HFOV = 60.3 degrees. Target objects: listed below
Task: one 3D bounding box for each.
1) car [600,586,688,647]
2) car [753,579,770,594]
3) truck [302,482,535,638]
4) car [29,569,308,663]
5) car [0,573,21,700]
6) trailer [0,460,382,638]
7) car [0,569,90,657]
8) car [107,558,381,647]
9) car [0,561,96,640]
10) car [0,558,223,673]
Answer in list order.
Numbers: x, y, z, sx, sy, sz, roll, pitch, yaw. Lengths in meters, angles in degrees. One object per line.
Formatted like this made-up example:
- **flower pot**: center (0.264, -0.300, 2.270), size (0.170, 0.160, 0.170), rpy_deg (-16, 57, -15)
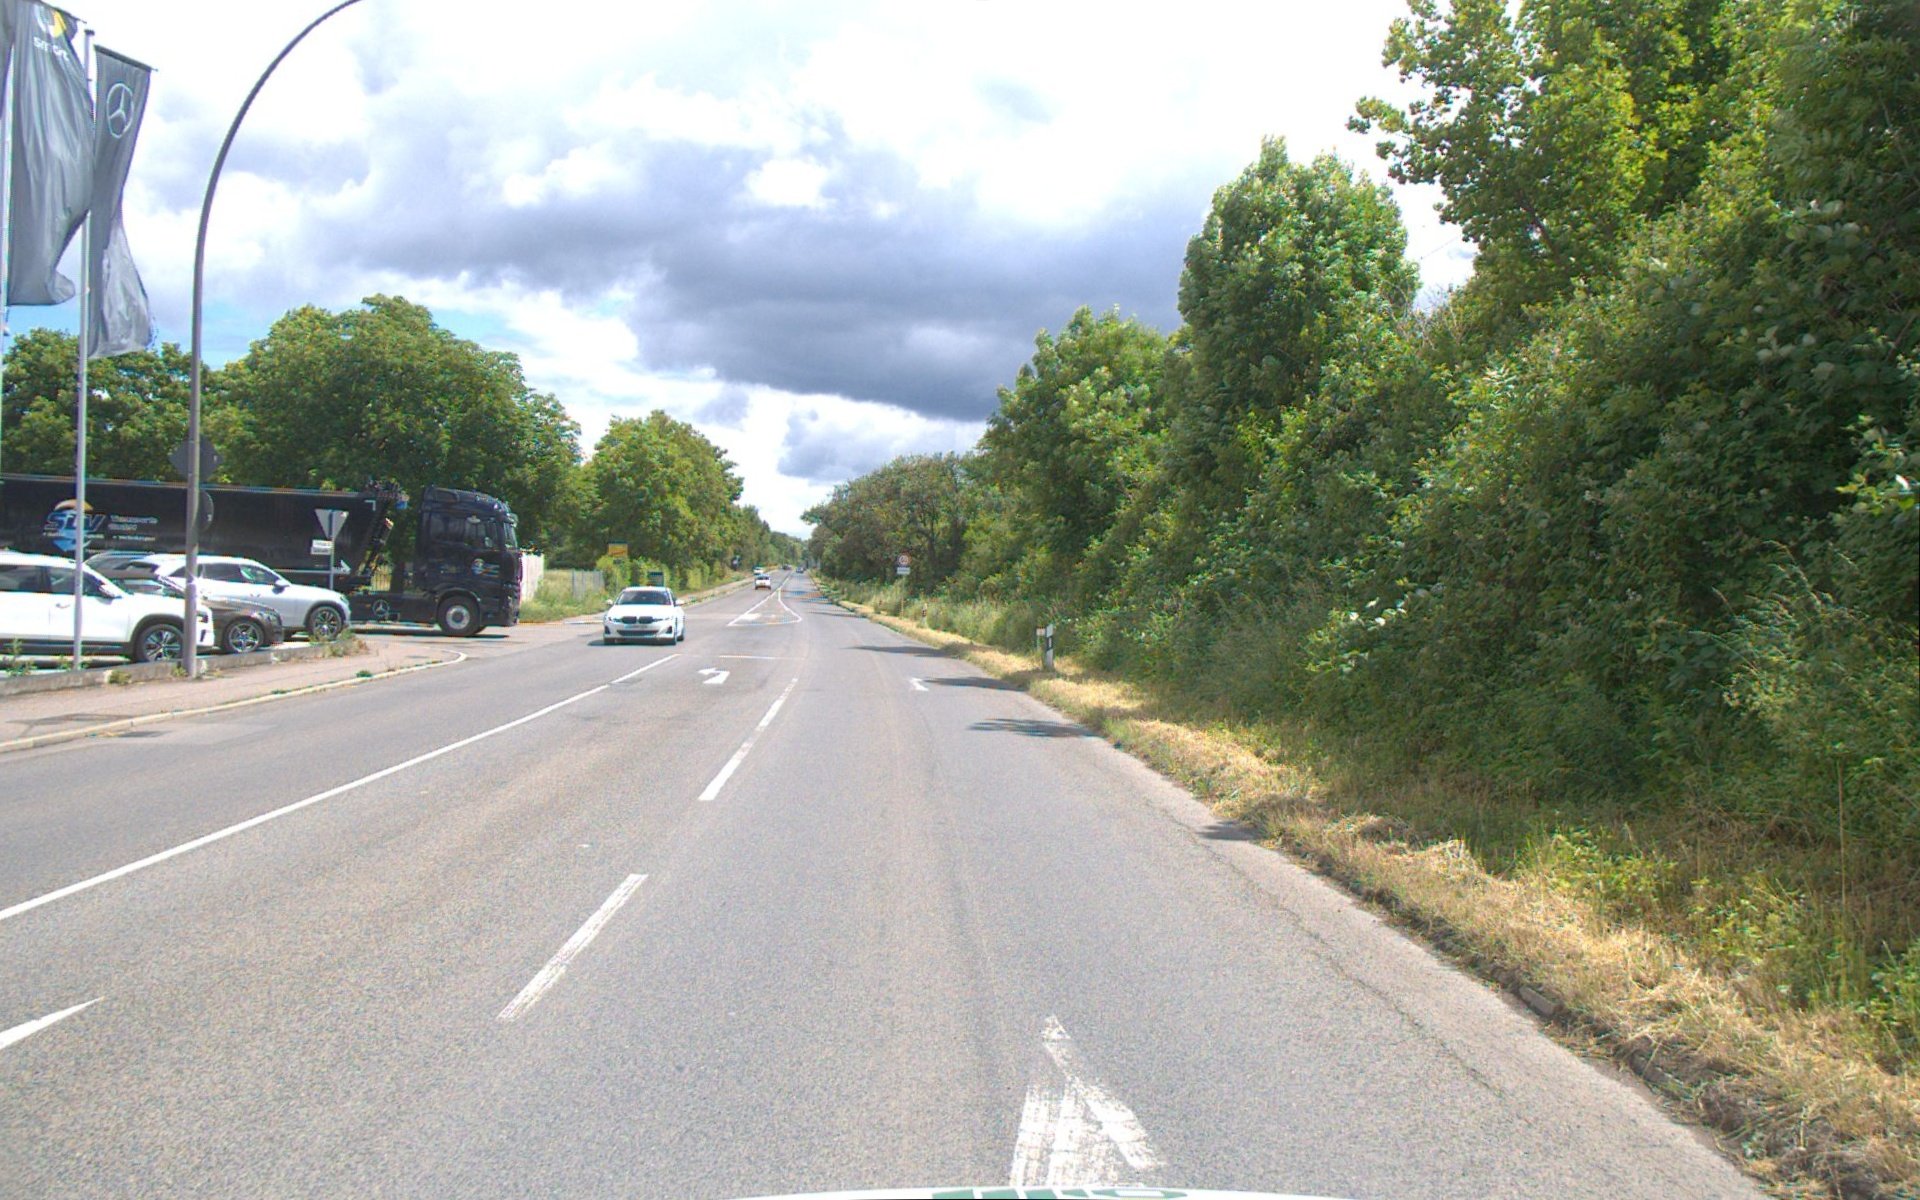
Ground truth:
- **car**: center (-8.131, 0.396, 42.875), size (1.956, 1.476, 4.420), rpy_deg (0, 0, -7)
- **car**: center (-20.095, -1.405, 167.623), size (1.628, 1.457, 3.688), rpy_deg (0, 1, -6)
- **truck**: center (-14.314, -1.019, 44.159), size (5.454, 3.890, 2.977), rpy_deg (1, 0, -11)
- **car**: center (-14.073, 0.295, 29.476), size (4.275, 1.491, 1.777), rpy_deg (2, 2, -34)
- **car**: center (-13.909, 0.422, 19.598), size (1.834, 1.593, 4.510), rpy_deg (3, 2, 32)
- **trailer**: center (-19.812, -1.199, 42.369), size (9.302, 4.154, 3.298), rpy_deg (1, 0, -22)
- **car**: center (-18.050, 0.212, 29.062), size (1.830, 1.493, 4.544), rpy_deg (3, 1, 34)
- **car**: center (-14.410, 0.080, 33.536), size (1.951, 1.633, 4.719), rpy_deg (3, 1, 39)
- **car**: center (-20.776, -0.015, 35.988), size (1.762, 1.629, 4.760), rpy_deg (0, 0, -4)
- **car**: center (-14.005, 0.233, 25.837), size (4.251, 1.707, 1.913), rpy_deg (2, 0, -36)
